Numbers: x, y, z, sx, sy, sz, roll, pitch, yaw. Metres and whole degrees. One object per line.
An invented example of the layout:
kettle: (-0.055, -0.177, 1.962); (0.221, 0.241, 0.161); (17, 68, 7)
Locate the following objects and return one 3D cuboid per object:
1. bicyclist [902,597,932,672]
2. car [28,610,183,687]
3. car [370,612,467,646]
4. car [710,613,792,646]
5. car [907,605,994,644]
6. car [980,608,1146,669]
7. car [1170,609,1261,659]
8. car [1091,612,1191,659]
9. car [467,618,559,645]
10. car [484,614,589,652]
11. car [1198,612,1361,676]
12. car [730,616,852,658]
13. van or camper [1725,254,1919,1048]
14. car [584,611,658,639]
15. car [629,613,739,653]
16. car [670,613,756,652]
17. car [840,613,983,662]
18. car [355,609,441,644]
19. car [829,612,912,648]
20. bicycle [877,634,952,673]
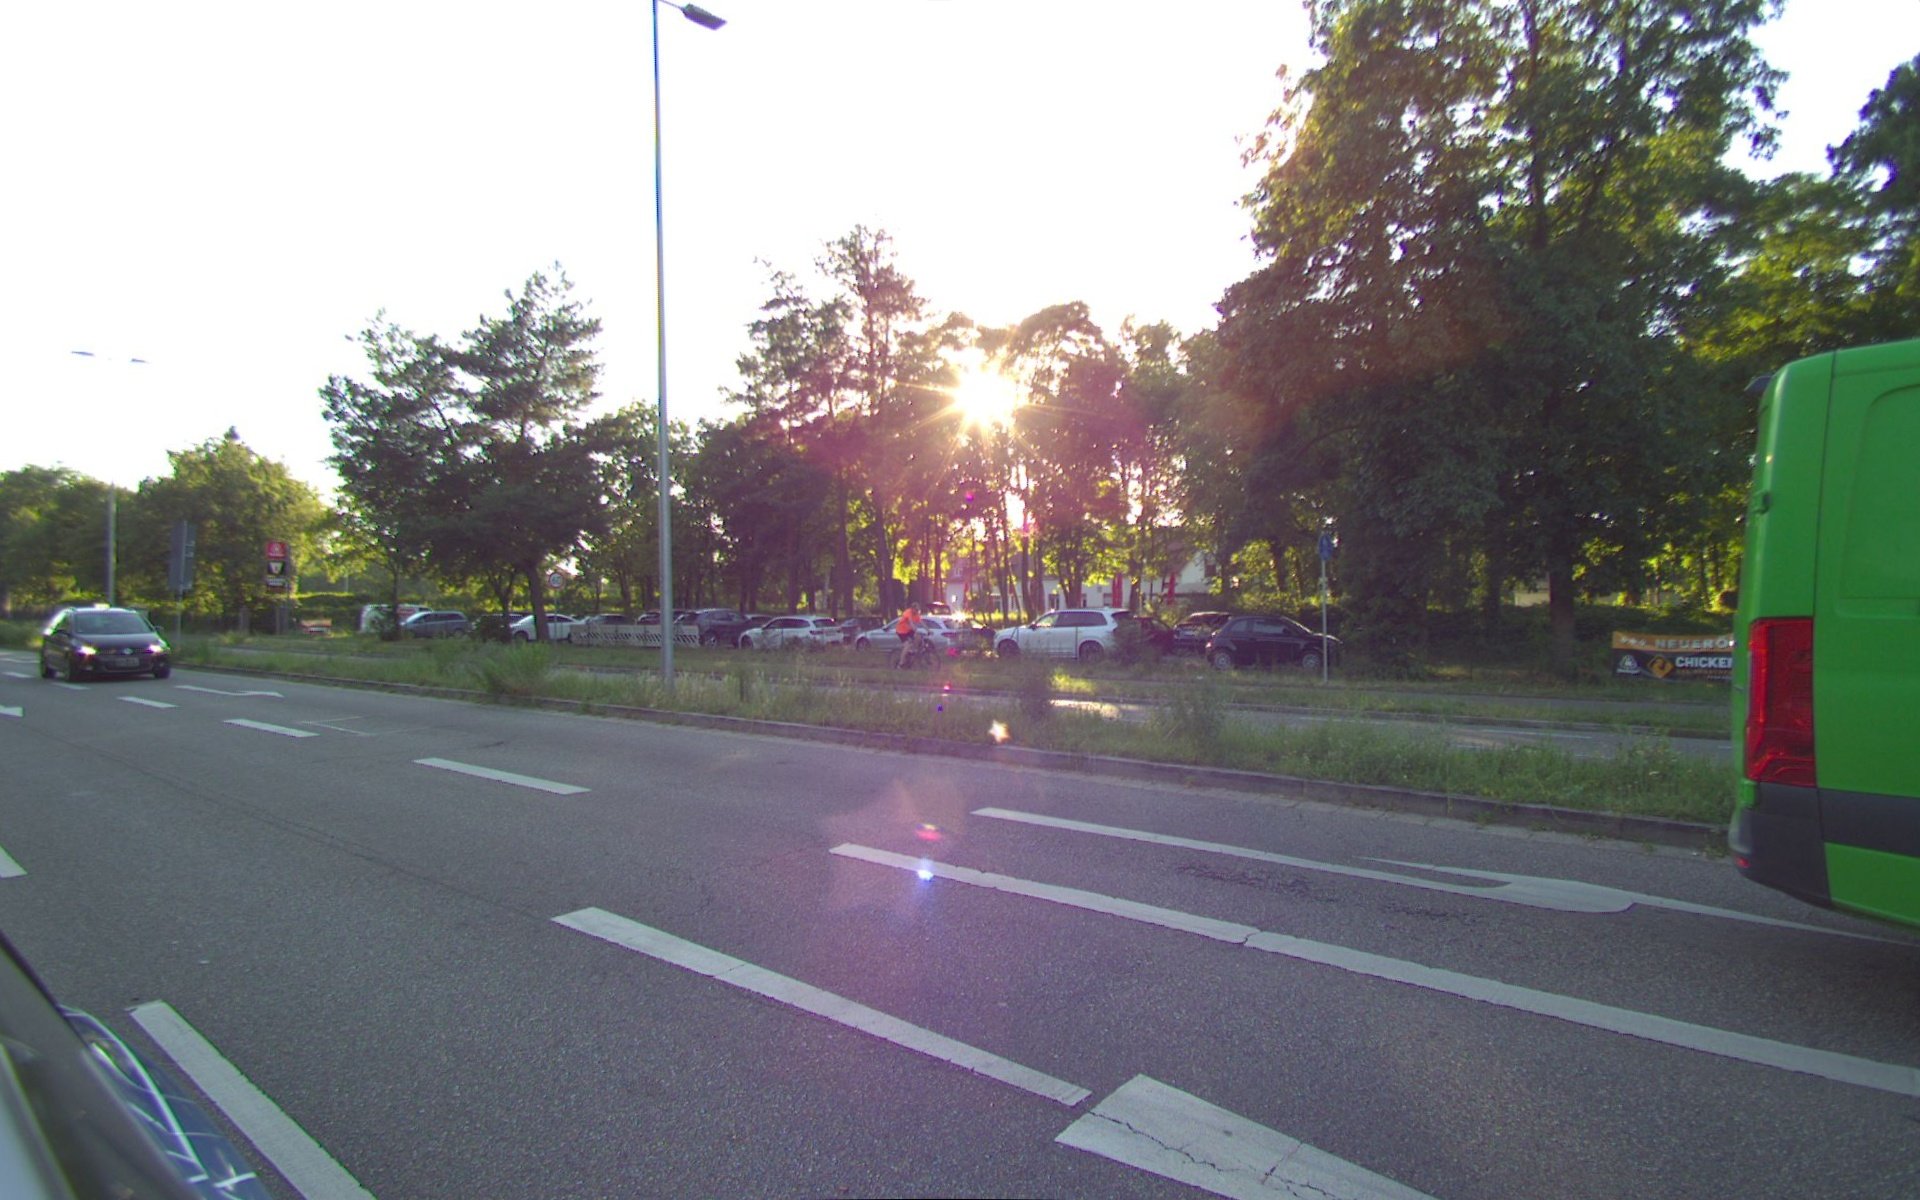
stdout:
bicyclist: (-1.101, 0.869, 25.699); (0.616, 1.888, 0.454); (-1, -2, 34)
car: (-19.083, 1.020, 22.554); (3.996, 1.564, 1.973); (-1, -2, 40)
car: (-30.260, 1.601, 56.655); (1.907, 1.811, 4.443); (-1, -2, 38)
car: (-10.898, 1.516, 52.955); (1.765, 1.663, 3.947); (-1, -2, 40)
car: (-0.382, 1.098, 45.119); (1.765, 1.663, 3.947); (-1, -2, 39)
car: (3.177, 1.172, 31.812); (4.913, 1.800, 1.975); (-1, -2, 37)
car: (9.004, 1.169, 35.450); (1.914, 1.663, 3.954); (-1, -1, 34)
car: (6.826, 1.306, 37.853); (1.918, 1.663, 3.944); (-1, -2, 42)
car: (-22.588, 1.591, 51.223); (1.731, 1.322, 3.947); (-1, -2, 39)
car: (-20.800, 1.617, 49.851); (1.908, 1.767, 4.441); (-1, -2, 39)
car: (8.576, 1.142, 27.256); (3.807, 1.609, 1.838); (-1, -2, 36)
car: (-6.601, 1.411, 39.301); (4.701, 1.560, 1.975); (-1, -2, 37)
van or camper: (5.474, 0.132, 2.271); (5.891, 2.439, 1.973); (-1, -2, 40)
car: (-20.493, 1.501, 61.245); (1.765, 1.663, 3.947); (-1, -2, 40)
car: (-11.908, 1.412, 43.931); (1.769, 1.629, 4.470); (-1, -2, 37)
car: (-10.084, 1.308, 41.454); (1.657, 1.538, 3.060); (-1, -2, 38)
car: (-1.742, 1.281, 35.598); (4.913, 1.619, 1.975); (-1, -2, 37)
car: (-32.535, 1.512, 58.675); (1.764, 1.959, 3.949); (-1, -2, 38)
car: (-4.317, 1.445, 49.054); (1.765, 1.663, 3.947); (-1, -2, 39)
bicycle: (-1.175, 1.336, 25.750); (2.039, 0.940, 0.488); (-1, -2, 35)
